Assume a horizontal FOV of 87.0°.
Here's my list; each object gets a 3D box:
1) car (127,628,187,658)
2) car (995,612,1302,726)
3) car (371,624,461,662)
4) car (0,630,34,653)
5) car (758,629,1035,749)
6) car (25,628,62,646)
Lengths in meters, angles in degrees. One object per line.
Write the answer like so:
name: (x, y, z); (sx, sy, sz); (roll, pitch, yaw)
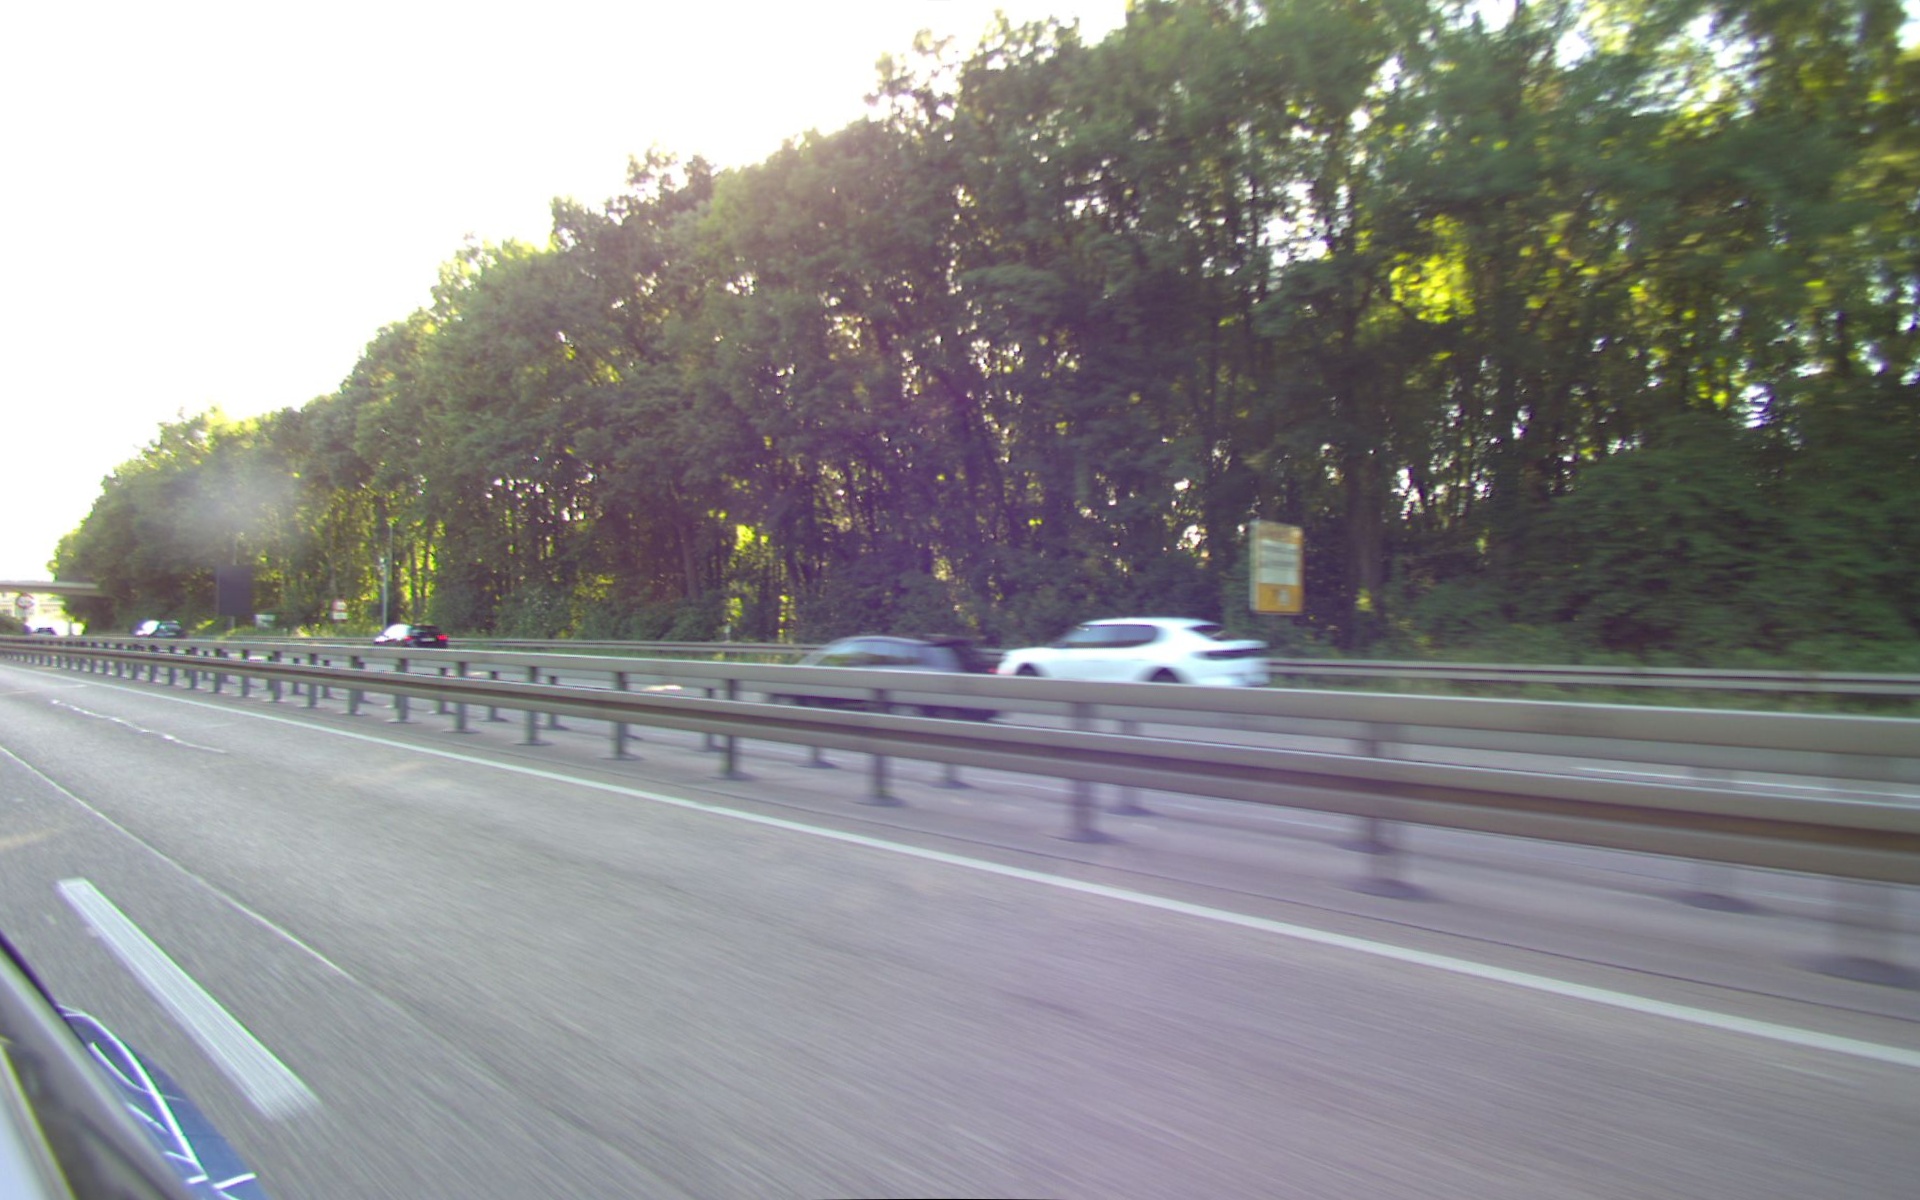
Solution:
car: (-49.087, 2.597, 61.825); (4.905, 1.712, 1.973); (-1, -3, 41)
car: (3.023, 1.076, 17.004); (4.791, 1.635, 1.971); (-1, -3, 44)
car: (-22.804, 1.797, 42.369); (3.998, 1.497, 1.973); (-1, -3, 41)
car: (-70.060, 3.049, 74.702); (4.705, 1.572, 1.973); (-1, -3, 41)
car: (-1.038, 1.197, 14.772); (4.097, 1.479, 1.705); (-1, -3, 44)
car: (-83.304, 3.380, 91.981); (4.116, 1.551, 1.973); (-1, -3, 41)
